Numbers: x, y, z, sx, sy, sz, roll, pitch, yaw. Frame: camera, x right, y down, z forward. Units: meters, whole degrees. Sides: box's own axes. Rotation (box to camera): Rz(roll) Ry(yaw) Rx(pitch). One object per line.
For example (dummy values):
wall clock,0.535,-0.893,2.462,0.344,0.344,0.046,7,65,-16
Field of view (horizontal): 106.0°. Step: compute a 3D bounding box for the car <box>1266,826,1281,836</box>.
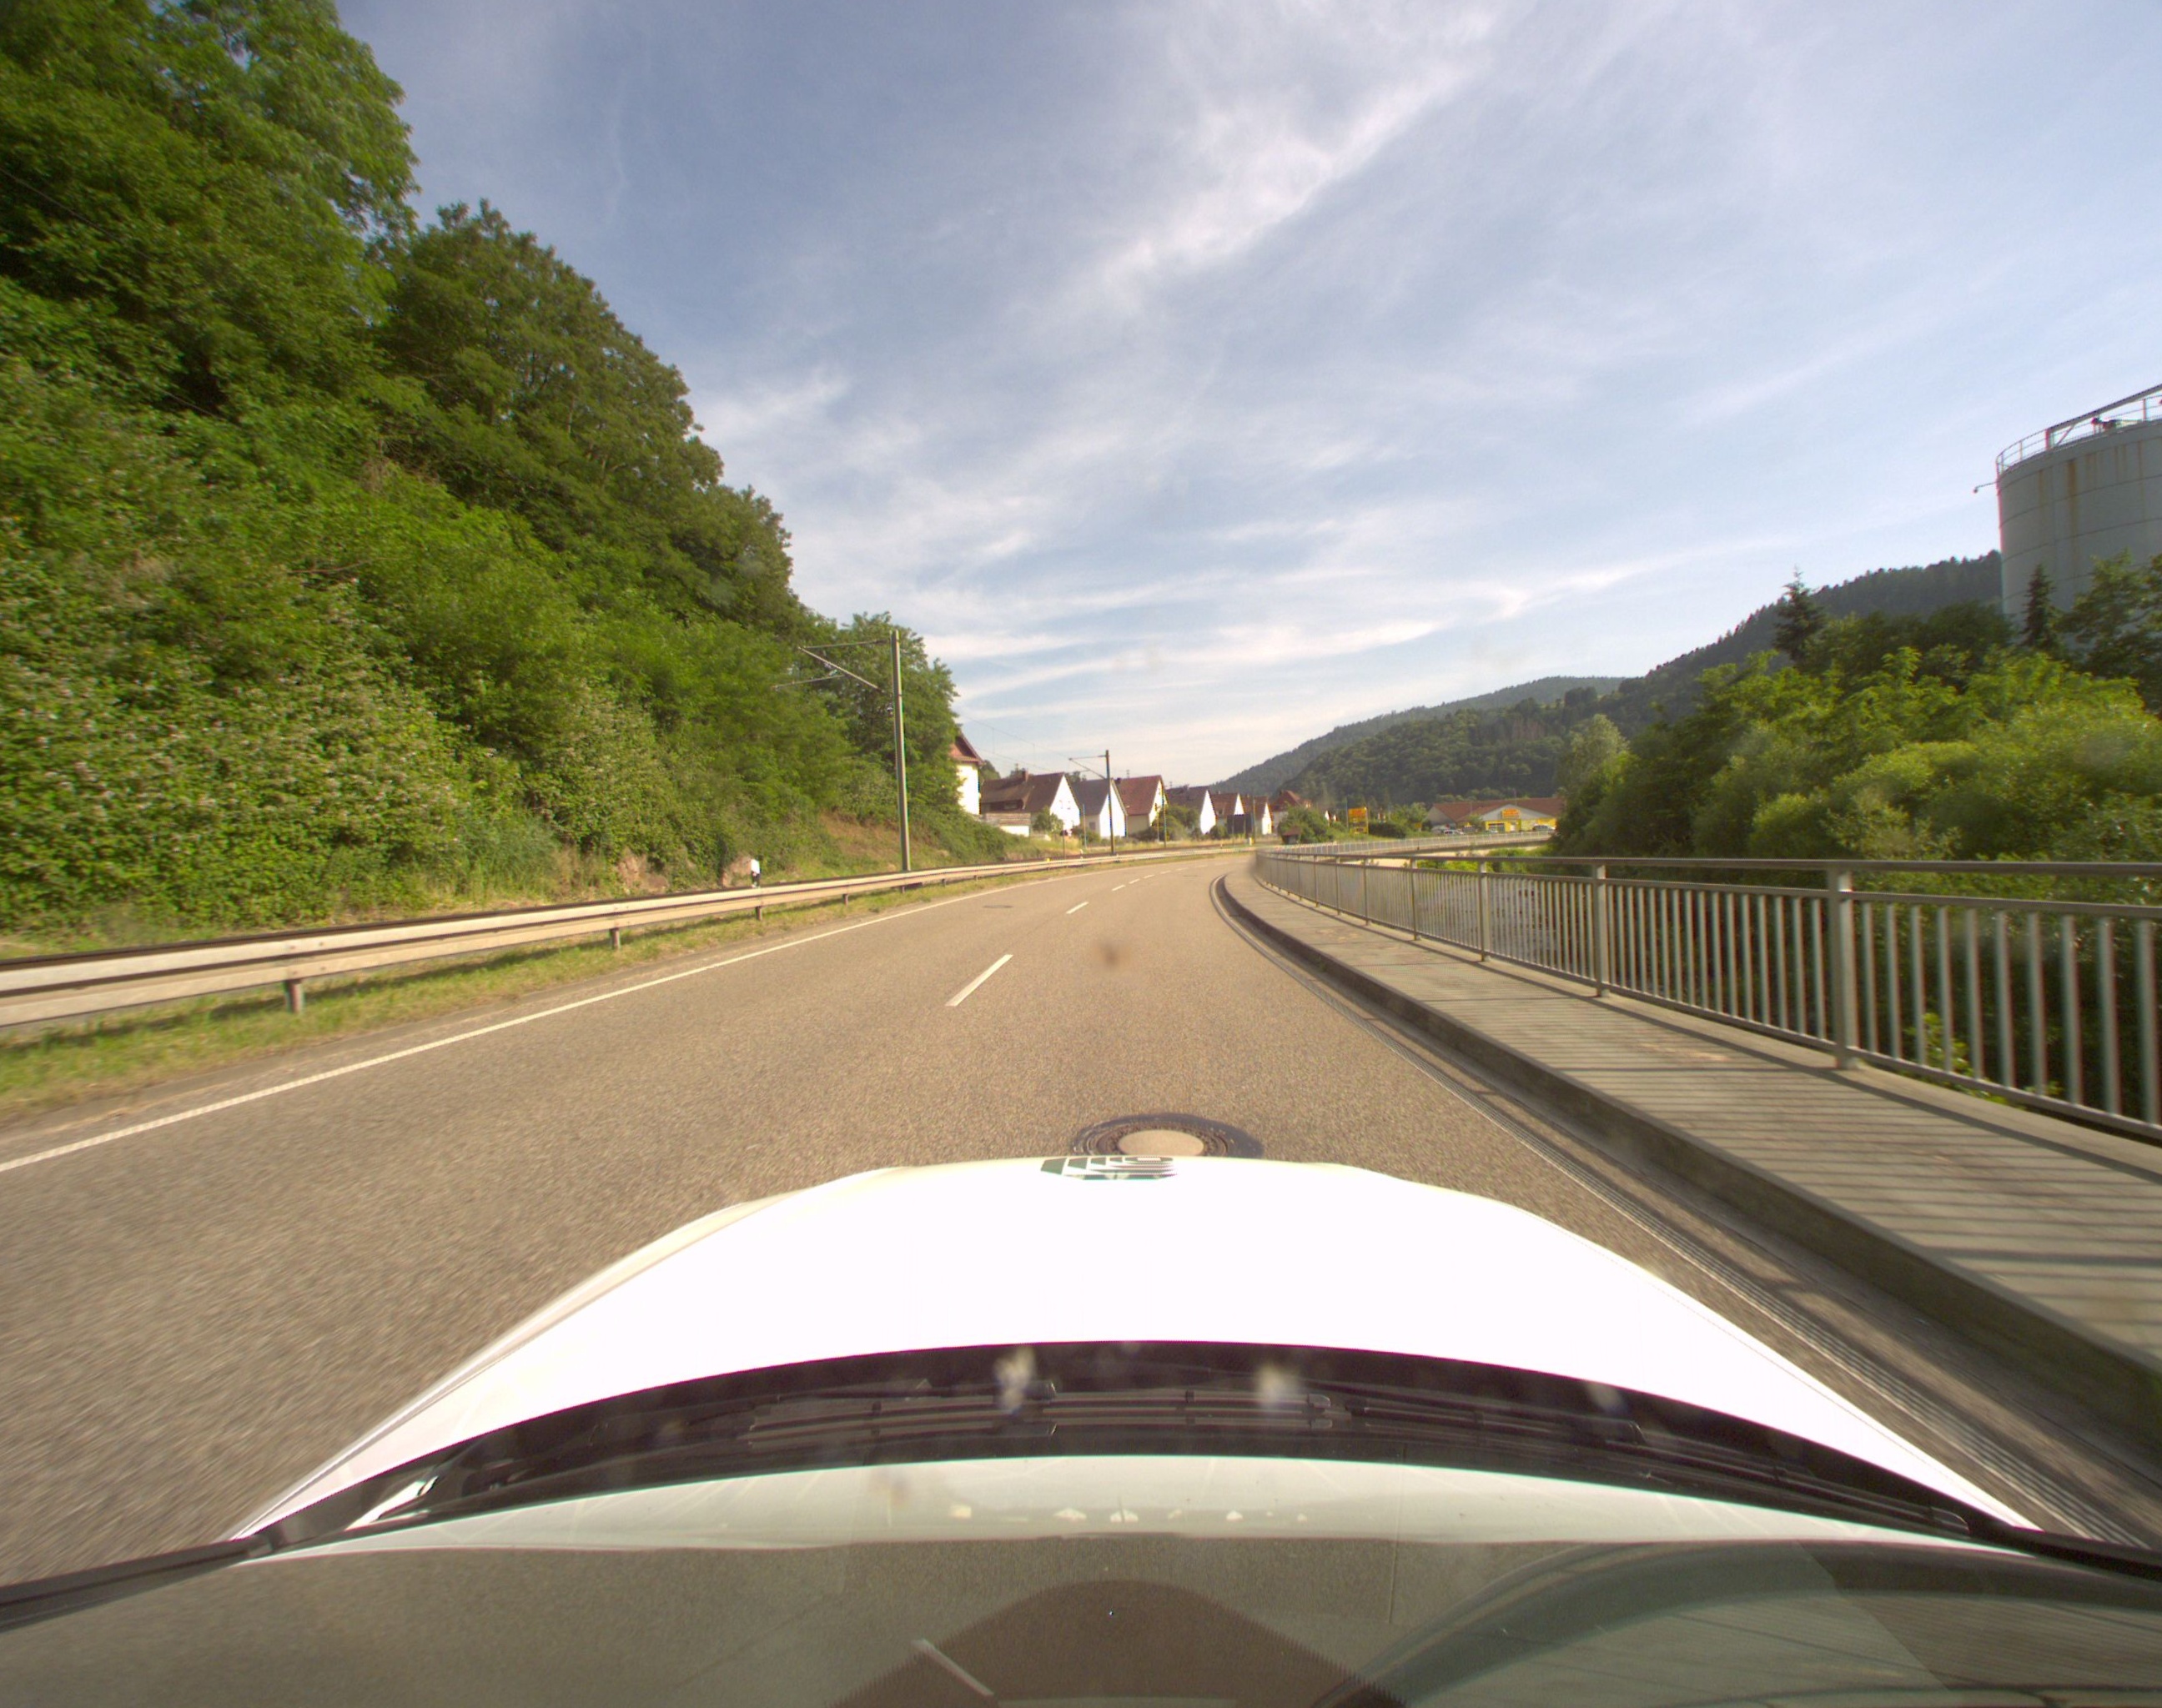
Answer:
car,38.095,-4.537,161.183,1.976,1.881,4.023,5,3,25
